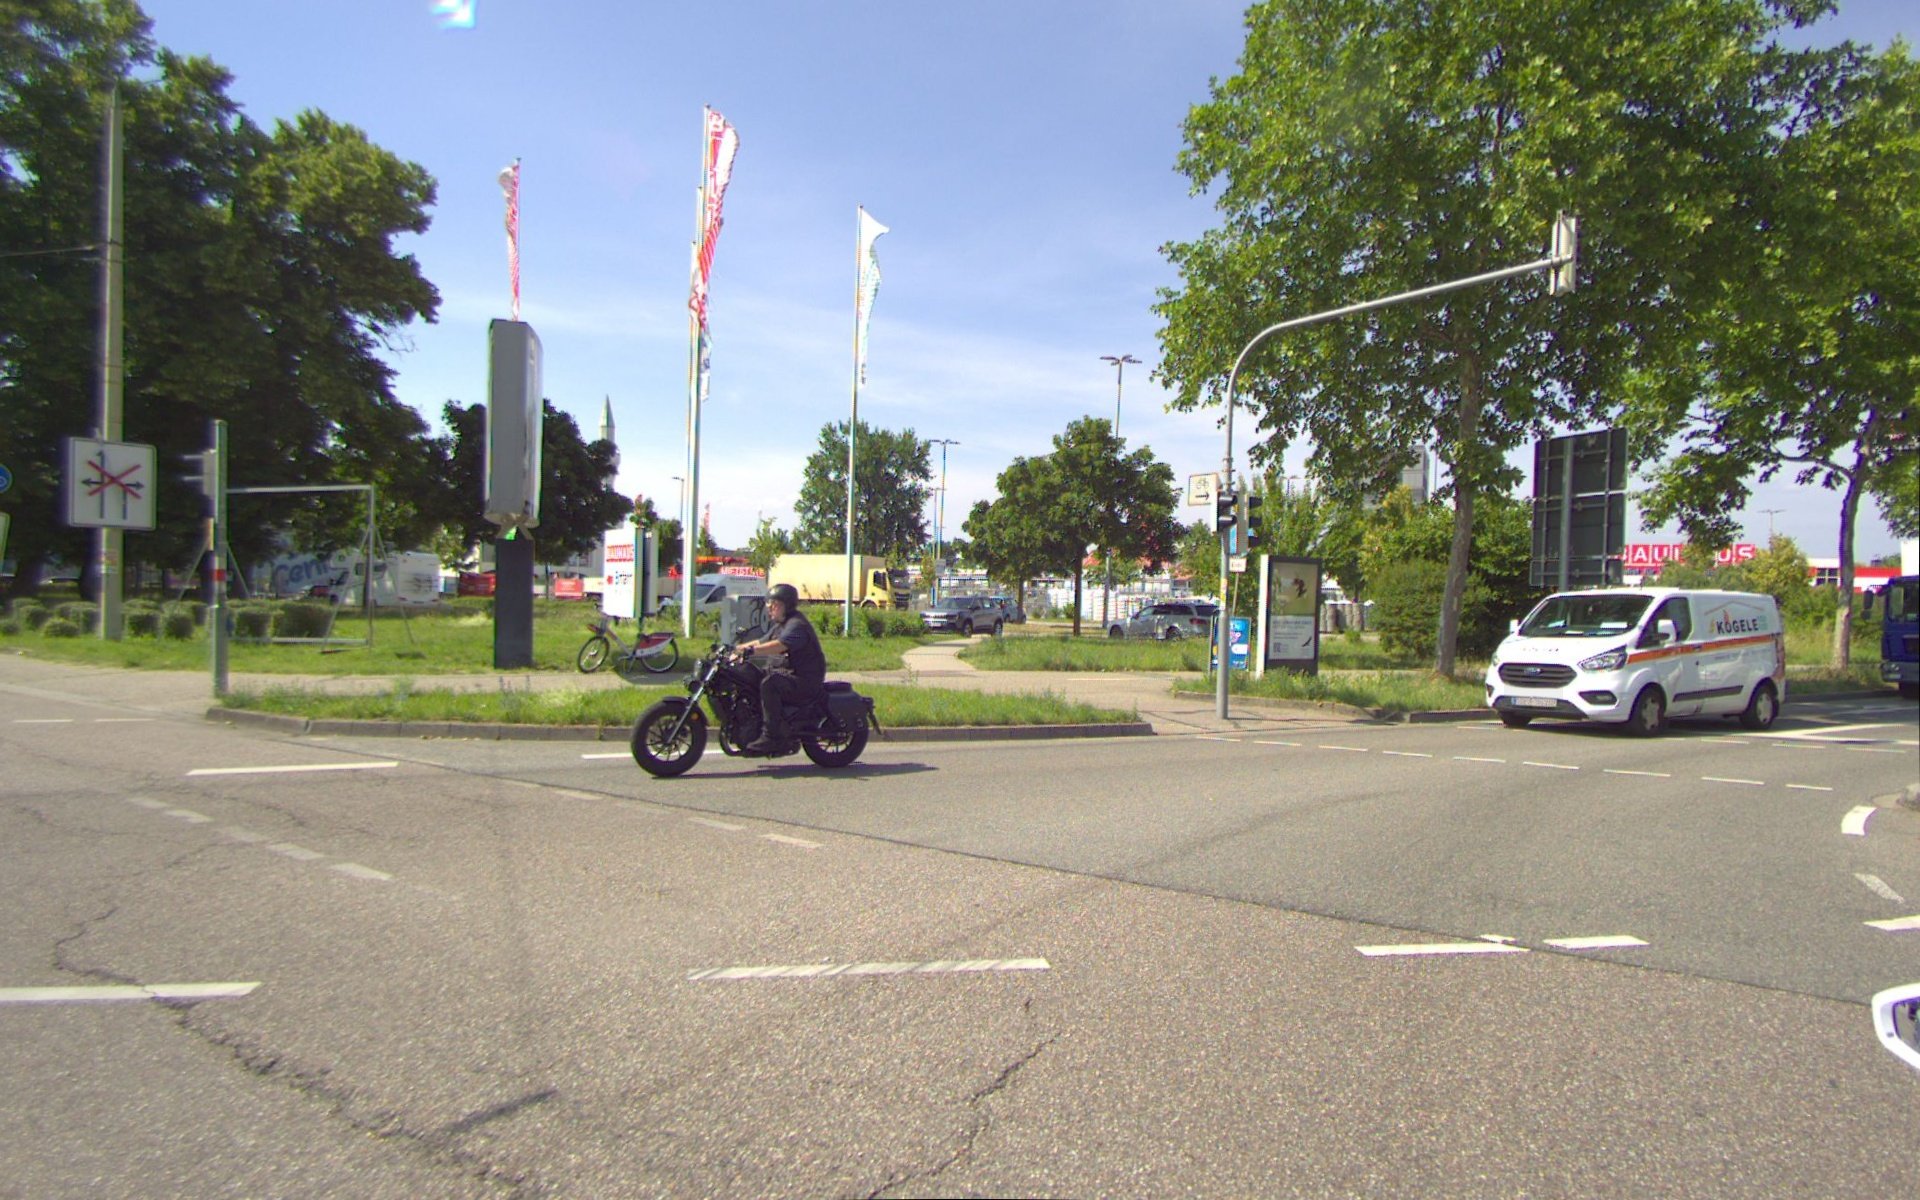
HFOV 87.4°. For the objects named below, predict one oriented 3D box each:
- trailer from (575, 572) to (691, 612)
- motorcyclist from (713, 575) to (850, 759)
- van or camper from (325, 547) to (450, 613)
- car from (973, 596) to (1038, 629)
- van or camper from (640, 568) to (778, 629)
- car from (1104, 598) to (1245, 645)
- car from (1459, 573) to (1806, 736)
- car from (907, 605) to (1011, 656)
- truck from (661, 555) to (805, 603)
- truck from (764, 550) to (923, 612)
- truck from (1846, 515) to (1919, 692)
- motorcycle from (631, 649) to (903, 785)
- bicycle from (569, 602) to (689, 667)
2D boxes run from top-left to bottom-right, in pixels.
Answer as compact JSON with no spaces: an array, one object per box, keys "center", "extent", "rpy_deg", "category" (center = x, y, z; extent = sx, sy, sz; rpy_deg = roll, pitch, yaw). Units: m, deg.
[{"center":[-22.819,-0.573,69.929],"extent":[8.061,2.523,2.922],"rpy_deg":[2,1,29],"category":"trailer"},{"center":[-1.554,0.544,8.698],"extent":[0.975,1.490,0.740],"rpy_deg":[1,1,-27],"category":"motorcyclist"},{"center":[-29.450,-1.056,51.667],"extent":[6.210,3.142,2.707],"rpy_deg":[2,1,29],"category":"van or camper"},{"center":[2.431,0.642,52.768],"extent":[1.788,1.593,4.275],"rpy_deg":[2,0,27],"category":"car"},{"center":[-9.897,-0.065,40.120],"extent":[2.156,2.239,5.509],"rpy_deg":[2,0,29],"category":"van or camper"},{"center":[7.317,0.708,34.731],"extent":[2.178,1.433,4.533],"rpy_deg":[1,0,-34],"category":"car"},{"center":[9.710,0.699,14.439],"extent":[4.967,2.026,1.969],"rpy_deg":[1,1,-27],"category":"car"},{"center":[0.051,1.002,35.105],"extent":[2.157,1.593,4.576],"rpy_deg":[2,0,20],"category":"car"},{"center":[-14.853,-1.360,65.538],"extent":[9.435,2.931,2.923],"rpy_deg":[2,1,27],"category":"truck"},{"center":[-6.771,-1.120,57.998],"extent":[8.757,3.356,3.157],"rpy_deg":[2,1,26],"category":"truck"},{"center":[22.134,0.100,21.351],"extent":[6.606,3.517,2.793],"rpy_deg":[1,-1,-28],"category":"truck"},{"center":[-1.629,0.951,8.634],"extent":[2.189,1.004,0.685],"rpy_deg":[1,1,-28],"category":"motorcycle"},{"center":[-5.574,0.583,16.997],"extent":[1.863,1.051,0.594],"rpy_deg":[1,1,-13],"category":"bicycle"}]
